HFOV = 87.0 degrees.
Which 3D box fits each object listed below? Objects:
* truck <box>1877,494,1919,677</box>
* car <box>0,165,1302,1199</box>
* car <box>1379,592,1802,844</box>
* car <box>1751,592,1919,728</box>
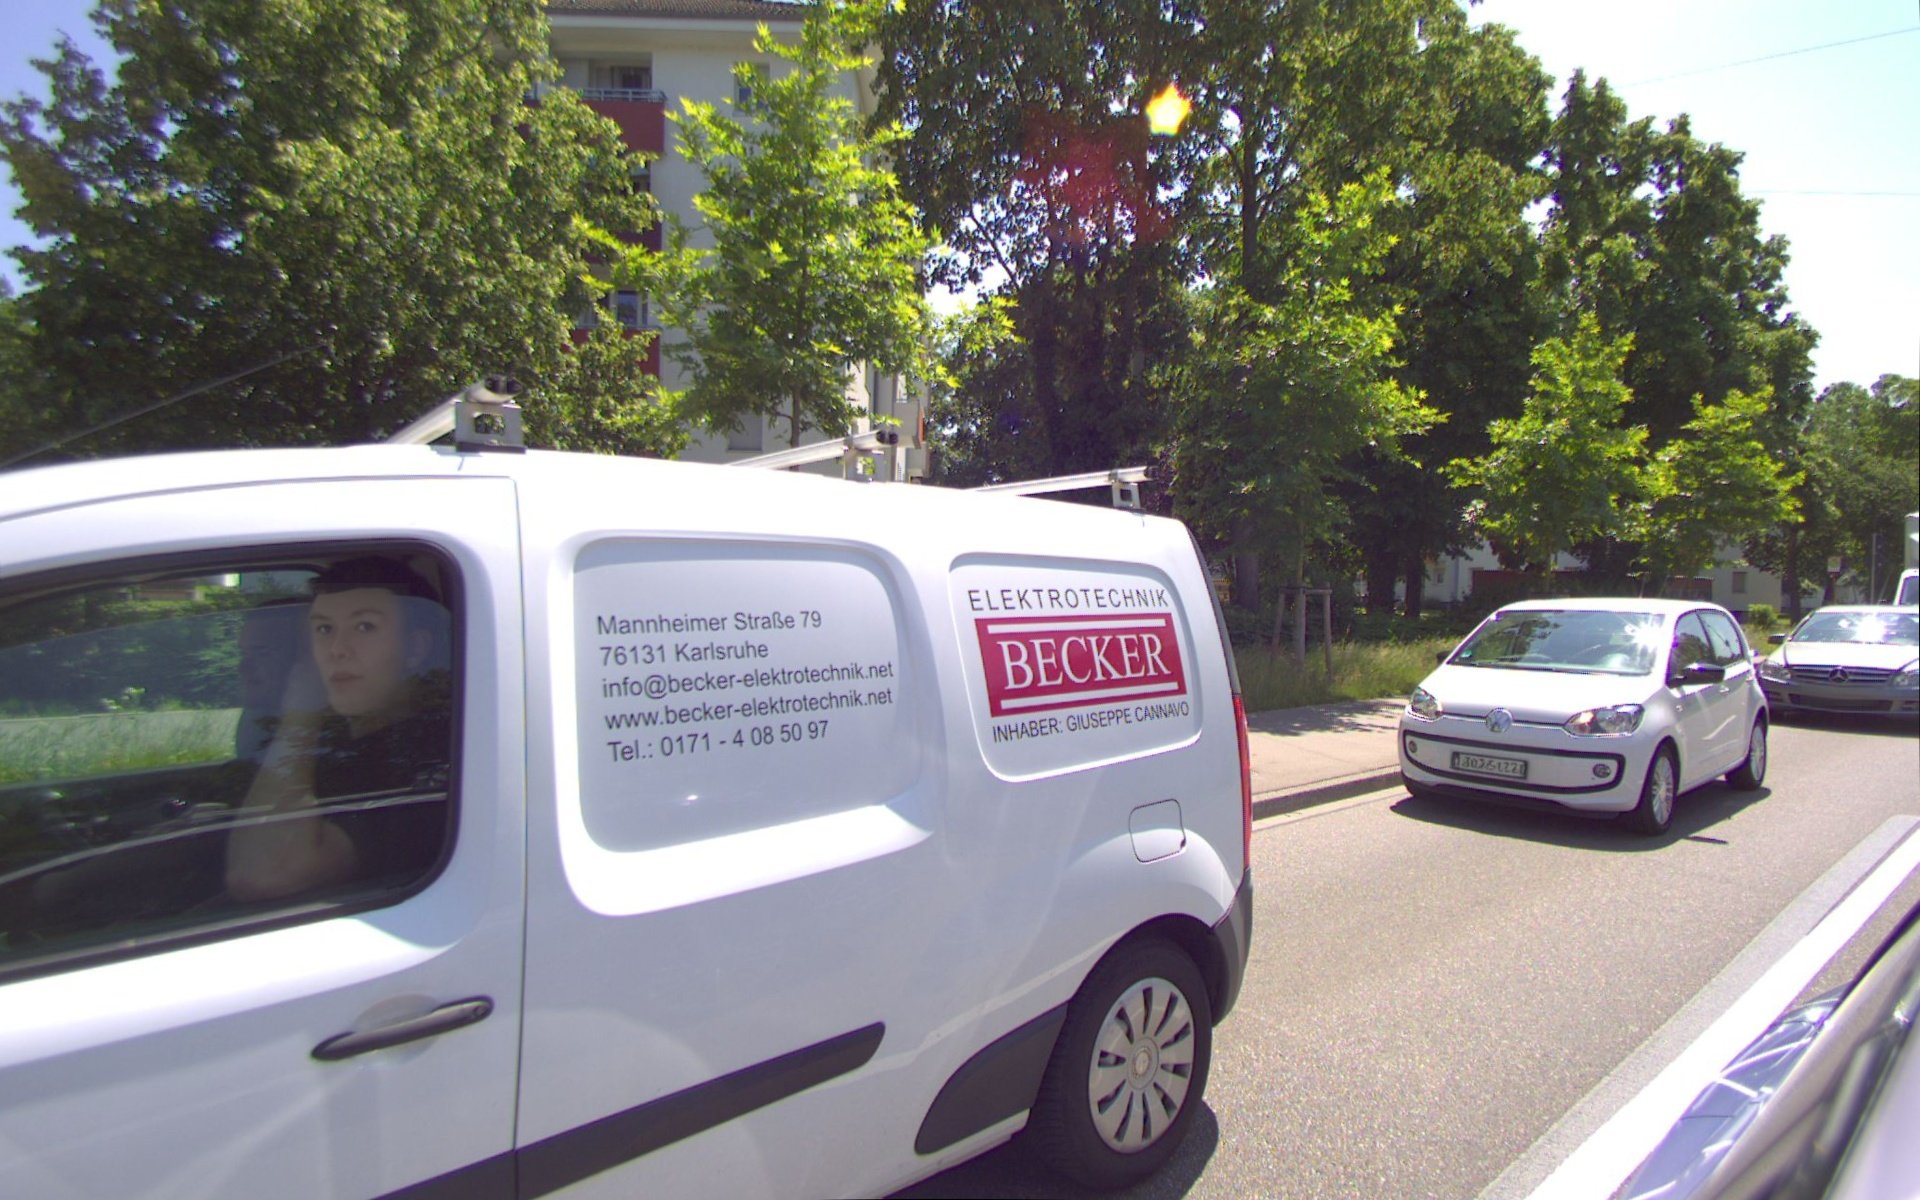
[{"bbox_3d":[20.998,-0.265,20.429,8.159,3.319,2.295,0,1,-38],"label":"truck"},{"bbox_3d":[-1.272,0.448,2.203,4.376,1.905,1.828,0,0,-40],"label":"car"},{"bbox_3d":[4.950,0.680,7.754,3.786,1.468,1.662,0,0,-40],"label":"car"},{"bbox_3d":[11.596,0.642,12.688,3.901,1.478,1.902,0,1,-40],"label":"car"}]
